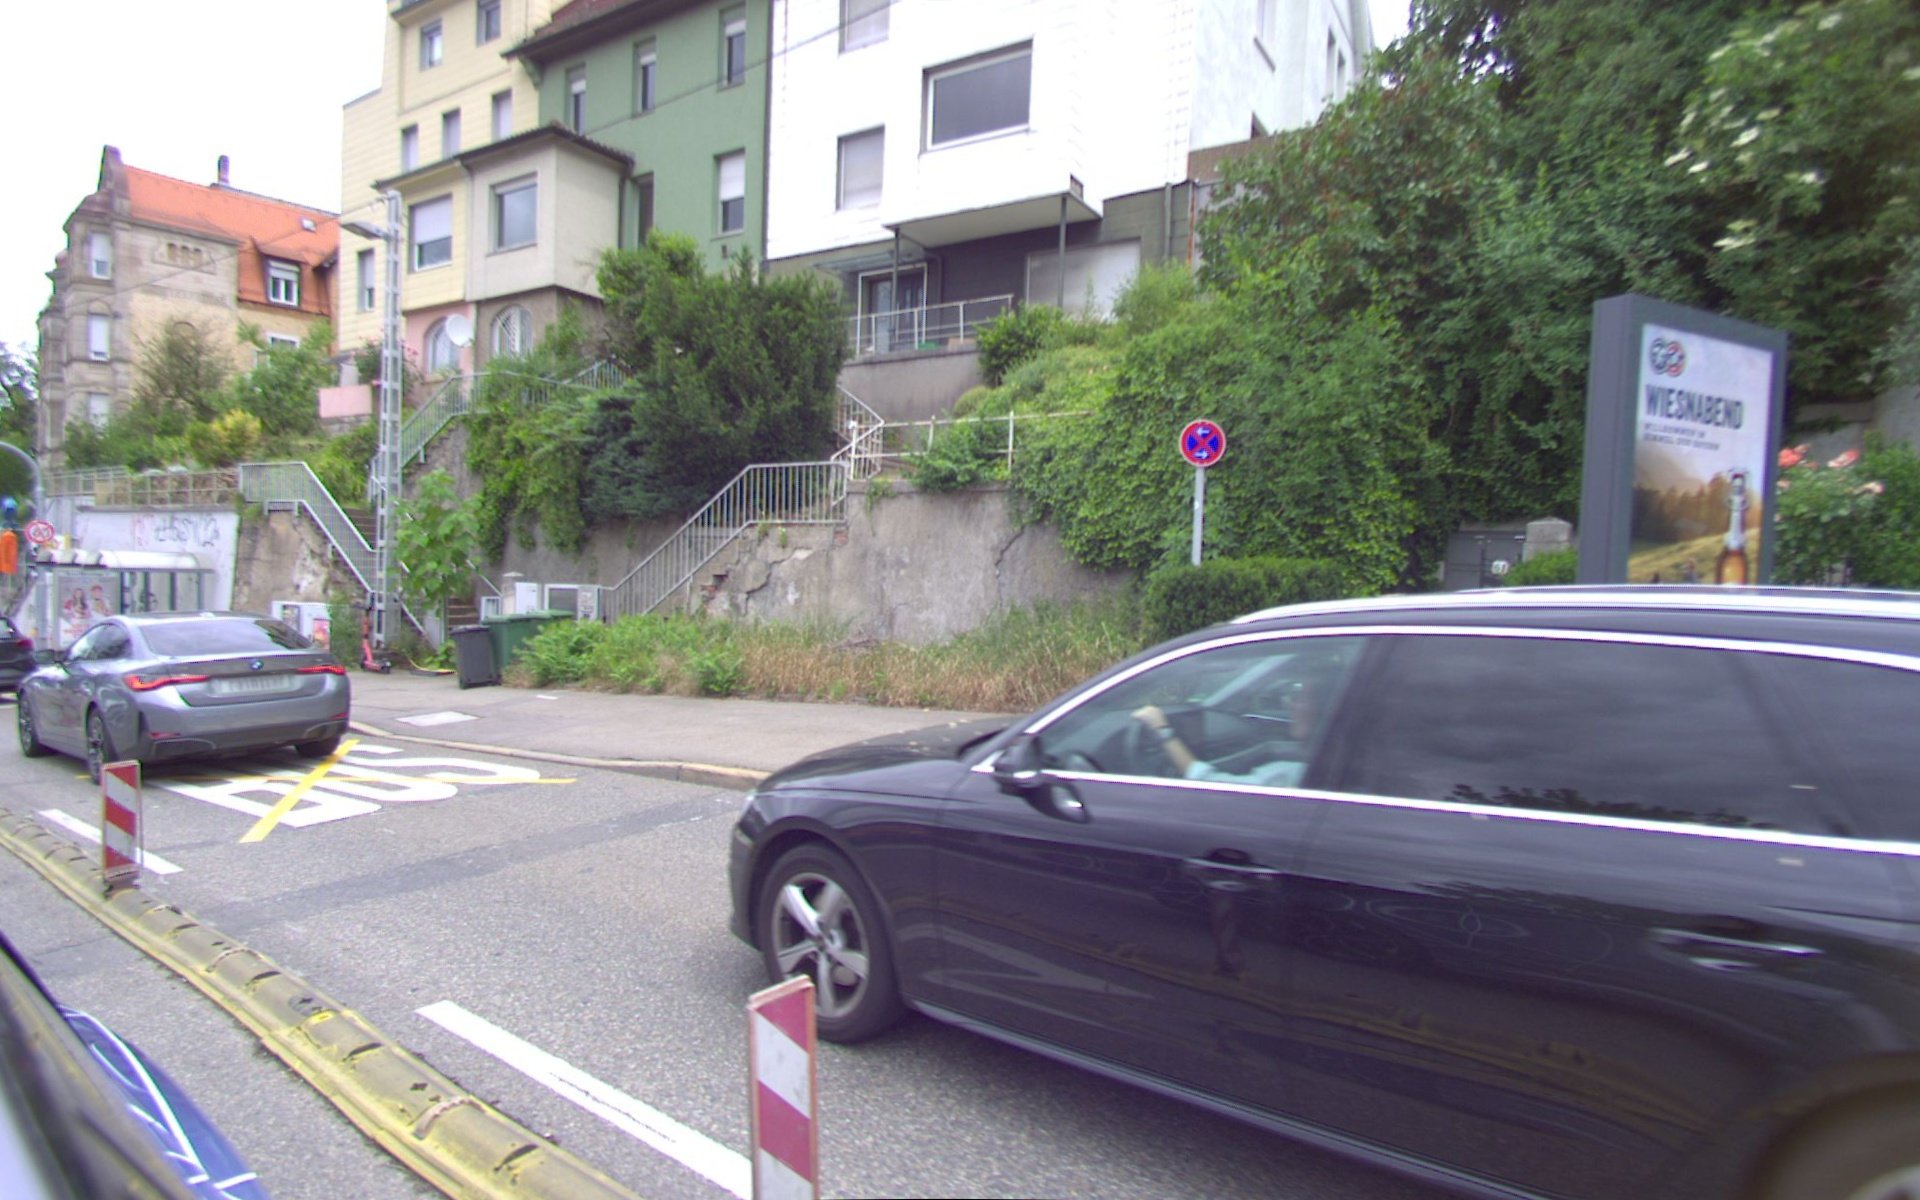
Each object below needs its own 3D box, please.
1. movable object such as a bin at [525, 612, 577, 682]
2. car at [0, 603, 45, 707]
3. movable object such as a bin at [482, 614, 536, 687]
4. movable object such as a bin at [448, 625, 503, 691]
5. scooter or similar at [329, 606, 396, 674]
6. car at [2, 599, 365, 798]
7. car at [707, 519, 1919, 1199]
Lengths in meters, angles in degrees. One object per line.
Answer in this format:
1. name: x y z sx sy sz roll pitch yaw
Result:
1. movable object such as a bin: -6.481 0.736 16.037 0.623 1.061 0.464 -1 1 35
2. car: -16.935 0.916 16.870 3.812 1.634 1.799 -1 1 37
3. movable object such as a bin: -6.893 0.765 15.459 0.623 1.061 0.464 -1 1 35
4. movable object such as a bin: -7.206 0.849 15.041 0.623 0.941 0.464 -1 1 35
5. scooter or similar: -11.218 0.744 19.001 1.431 1.214 0.456 -1 1 33
6. car: -7.728 0.788 9.927 4.323 1.493 1.778 -1 2 38
7. car: 1.321 0.597 2.813 4.361 1.457 1.777 -1 1 42
